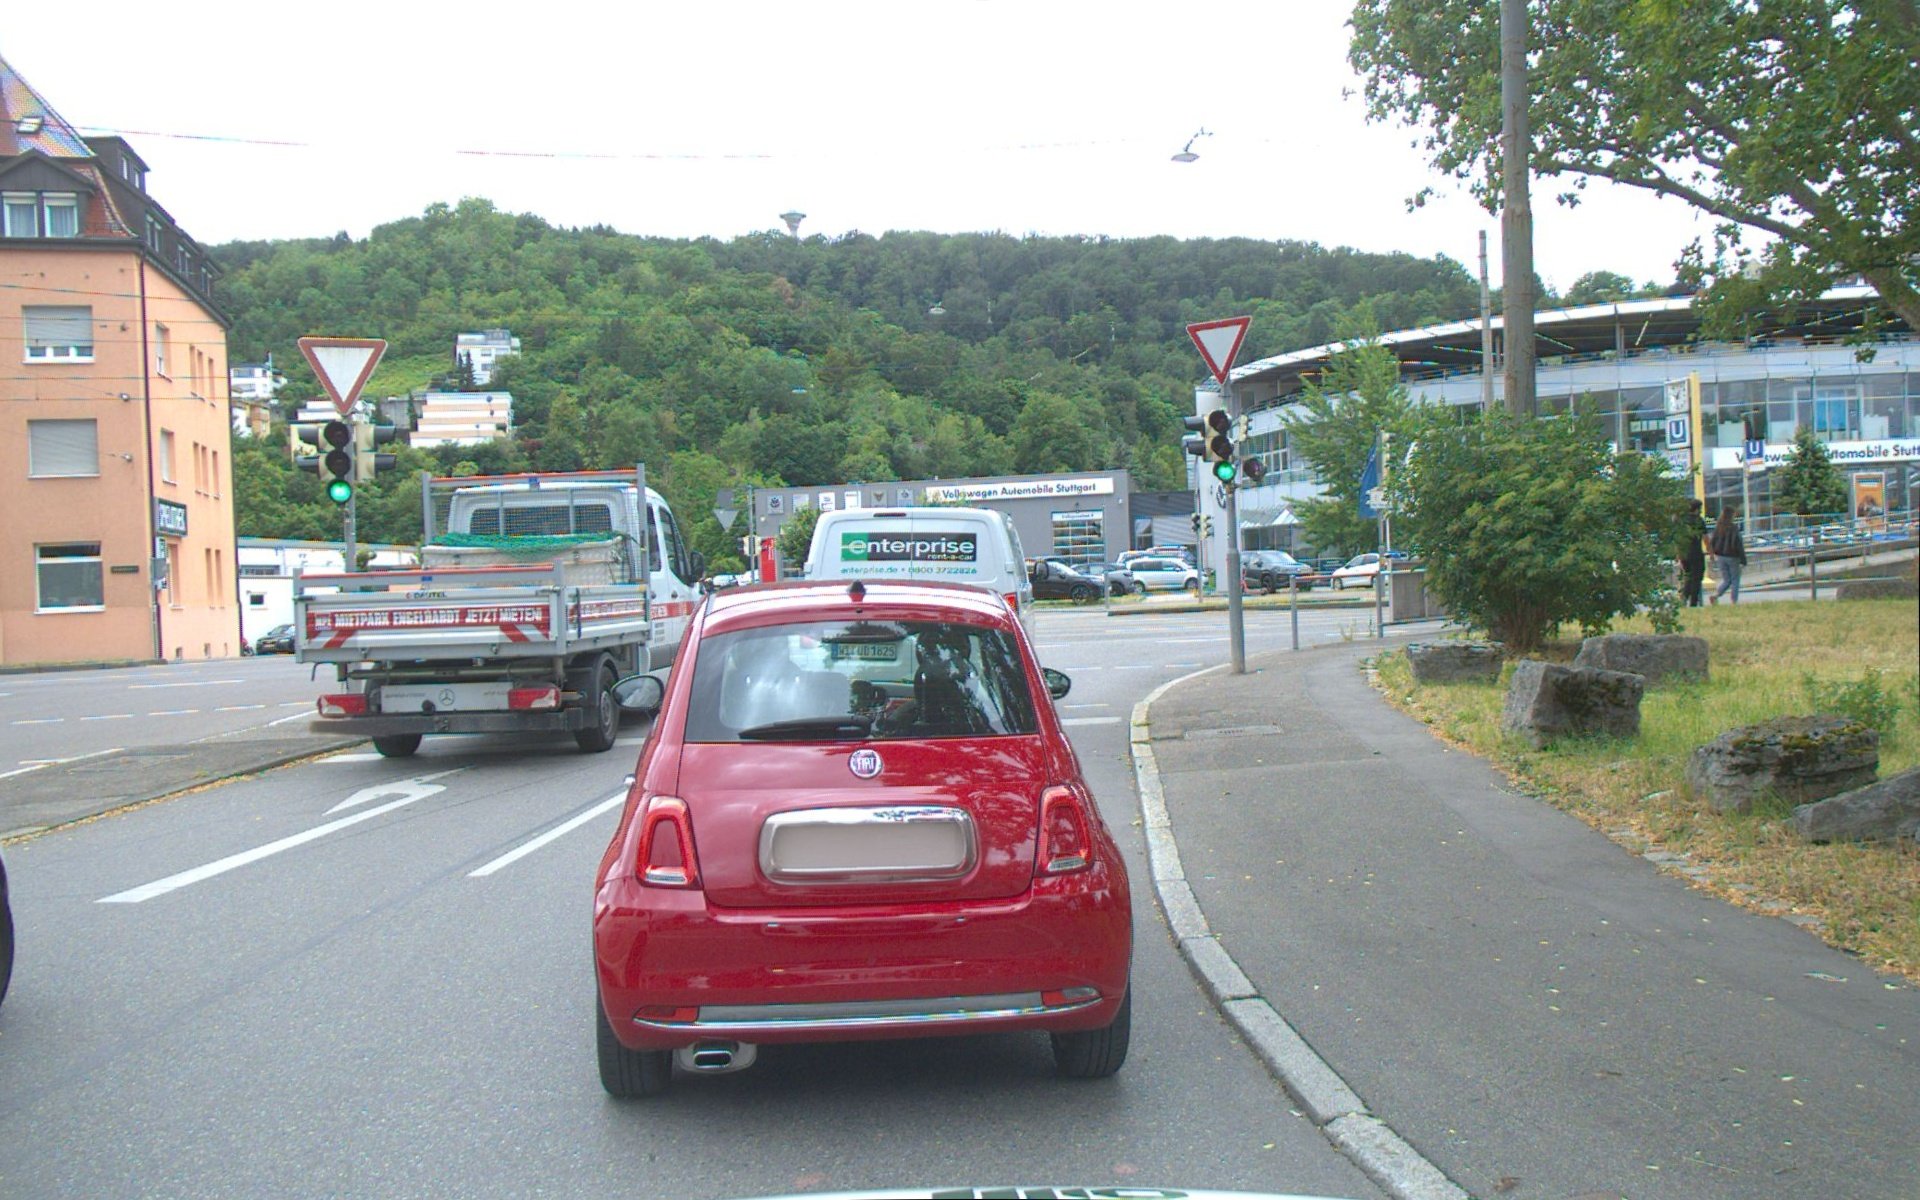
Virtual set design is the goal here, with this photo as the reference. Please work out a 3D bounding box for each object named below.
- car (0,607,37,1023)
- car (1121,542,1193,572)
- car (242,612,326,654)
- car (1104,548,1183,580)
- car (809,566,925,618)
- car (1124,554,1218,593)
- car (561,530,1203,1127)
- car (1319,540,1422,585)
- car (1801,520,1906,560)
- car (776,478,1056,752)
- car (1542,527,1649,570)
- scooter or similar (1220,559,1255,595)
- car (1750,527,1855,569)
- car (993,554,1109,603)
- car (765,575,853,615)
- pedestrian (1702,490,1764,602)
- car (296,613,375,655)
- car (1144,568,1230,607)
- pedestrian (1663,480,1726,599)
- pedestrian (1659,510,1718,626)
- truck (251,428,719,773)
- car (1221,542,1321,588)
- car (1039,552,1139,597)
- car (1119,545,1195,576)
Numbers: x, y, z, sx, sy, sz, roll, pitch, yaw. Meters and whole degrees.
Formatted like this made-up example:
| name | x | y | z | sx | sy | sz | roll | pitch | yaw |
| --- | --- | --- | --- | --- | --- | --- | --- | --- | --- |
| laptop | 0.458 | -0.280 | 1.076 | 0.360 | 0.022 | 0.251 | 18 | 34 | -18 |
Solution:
| name | x | y | z | sx | sy | sz | roll | pitch | yaw |
| --- | --- | --- | --- | --- | --- | --- | --- | --- | --- |
| car | -3.756 | 0.769 | 4.452 | 1.569 | 1.445 | 3.356 | -2 | 0 | -18 |
| car | 12.488 | -2.710 | 104.874 | 4.402 | 1.759 | 2.001 | 1 | -1 | 3 |
| car | -31.650 | 1.531 | 77.579 | 1.952 | 1.871 | 4.511 | 1 | -1 | 1 |
| car | 10.592 | -2.074 | 95.451 | 4.402 | 1.759 | 2.001 | 1 | -1 | 3 |
| car | -4.245 | -0.337 | 75.959 | 4.895 | 2.049 | 2.002 | -3 | -1 | 8 |
| car | 10.220 | -1.284 | 80.334 | 4.402 | 1.759 | 2.001 | 1 | -1 | 3 |
| car | -0.334 | 0.577 | 6.354 | 1.664 | 1.551 | 3.997 | 1 | 1 | -4 |
| car | 16.257 | -1.455 | 65.688 | 1.967 | 1.669 | 3.971 | 1 | -1 | -23 |
| car | 39.373 | -2.617 | 72.970 | 1.889 | 1.581 | 3.984 | 1 | -1 | -15 |
| car | -0.205 | 0.019 | 15.086 | 1.956 | 2.076 | 4.836 | 1 | 2 | 5 |
| car | 26.345 | -2.107 | 68.662 | 1.896 | 1.581 | 3.971 | -3 | 1 | -23 |
| scooter or similar | 10.253 | -0.851 | 61.147 | 1.176 | 1.310 | 0.575 | 1 | -1 | -1 |
| car | 36.757 | -2.246 | 72.282 | 1.889 | 1.581 | 3.984 | -3 | 1 | -15 |
| car | 3.358 | -0.807 | 60.963 | 3.903 | 1.668 | 2.002 | 1 | 4 | 17 |
| car | -8.129 | -0.268 | 89.336 | 4.401 | 2.032 | 2.001 | 1 | -1 | 3 |
| pedestrian | 12.207 | -0.839 | 26.126 | 0.659 | 1.719 | 0.601 | 1 | -1 | -18 |
| car | -29.328 | 1.572 | 77.858 | 1.953 | 1.871 | 4.510 | 1 | -1 | 0 |
| car | 12.123 | -0.662 | 88.599 | 4.401 | 2.032 | 2.001 | 1 | -1 | 3 |
| pedestrian | 11.899 | -0.974 | 26.791 | 0.659 | 1.900 | 0.601 | -2 | 0 | -18 |
| pedestrian | 12.131 | -0.521 | 27.541 | 0.659 | 1.900 | 0.601 | 1 | -1 | -18 |
| truck | -3.948 | -0.058 | 15.122 | 2.265 | 2.463 | 5.657 | -2 | 1 | 3 |
| car | 12.019 | -1.327 | 64.139 | 1.967 | 1.668 | 3.971 | -2 | 1 | -23 |
| car | 5.385 | -1.053 | 69.443 | 3.909 | 1.736 | 1.998 | 1 | -1 | -6 |
| car | 11.880 | -2.390 | 99.724 | 4.402 | 1.759 | 2.001 | 1 | -1 | 3 |
